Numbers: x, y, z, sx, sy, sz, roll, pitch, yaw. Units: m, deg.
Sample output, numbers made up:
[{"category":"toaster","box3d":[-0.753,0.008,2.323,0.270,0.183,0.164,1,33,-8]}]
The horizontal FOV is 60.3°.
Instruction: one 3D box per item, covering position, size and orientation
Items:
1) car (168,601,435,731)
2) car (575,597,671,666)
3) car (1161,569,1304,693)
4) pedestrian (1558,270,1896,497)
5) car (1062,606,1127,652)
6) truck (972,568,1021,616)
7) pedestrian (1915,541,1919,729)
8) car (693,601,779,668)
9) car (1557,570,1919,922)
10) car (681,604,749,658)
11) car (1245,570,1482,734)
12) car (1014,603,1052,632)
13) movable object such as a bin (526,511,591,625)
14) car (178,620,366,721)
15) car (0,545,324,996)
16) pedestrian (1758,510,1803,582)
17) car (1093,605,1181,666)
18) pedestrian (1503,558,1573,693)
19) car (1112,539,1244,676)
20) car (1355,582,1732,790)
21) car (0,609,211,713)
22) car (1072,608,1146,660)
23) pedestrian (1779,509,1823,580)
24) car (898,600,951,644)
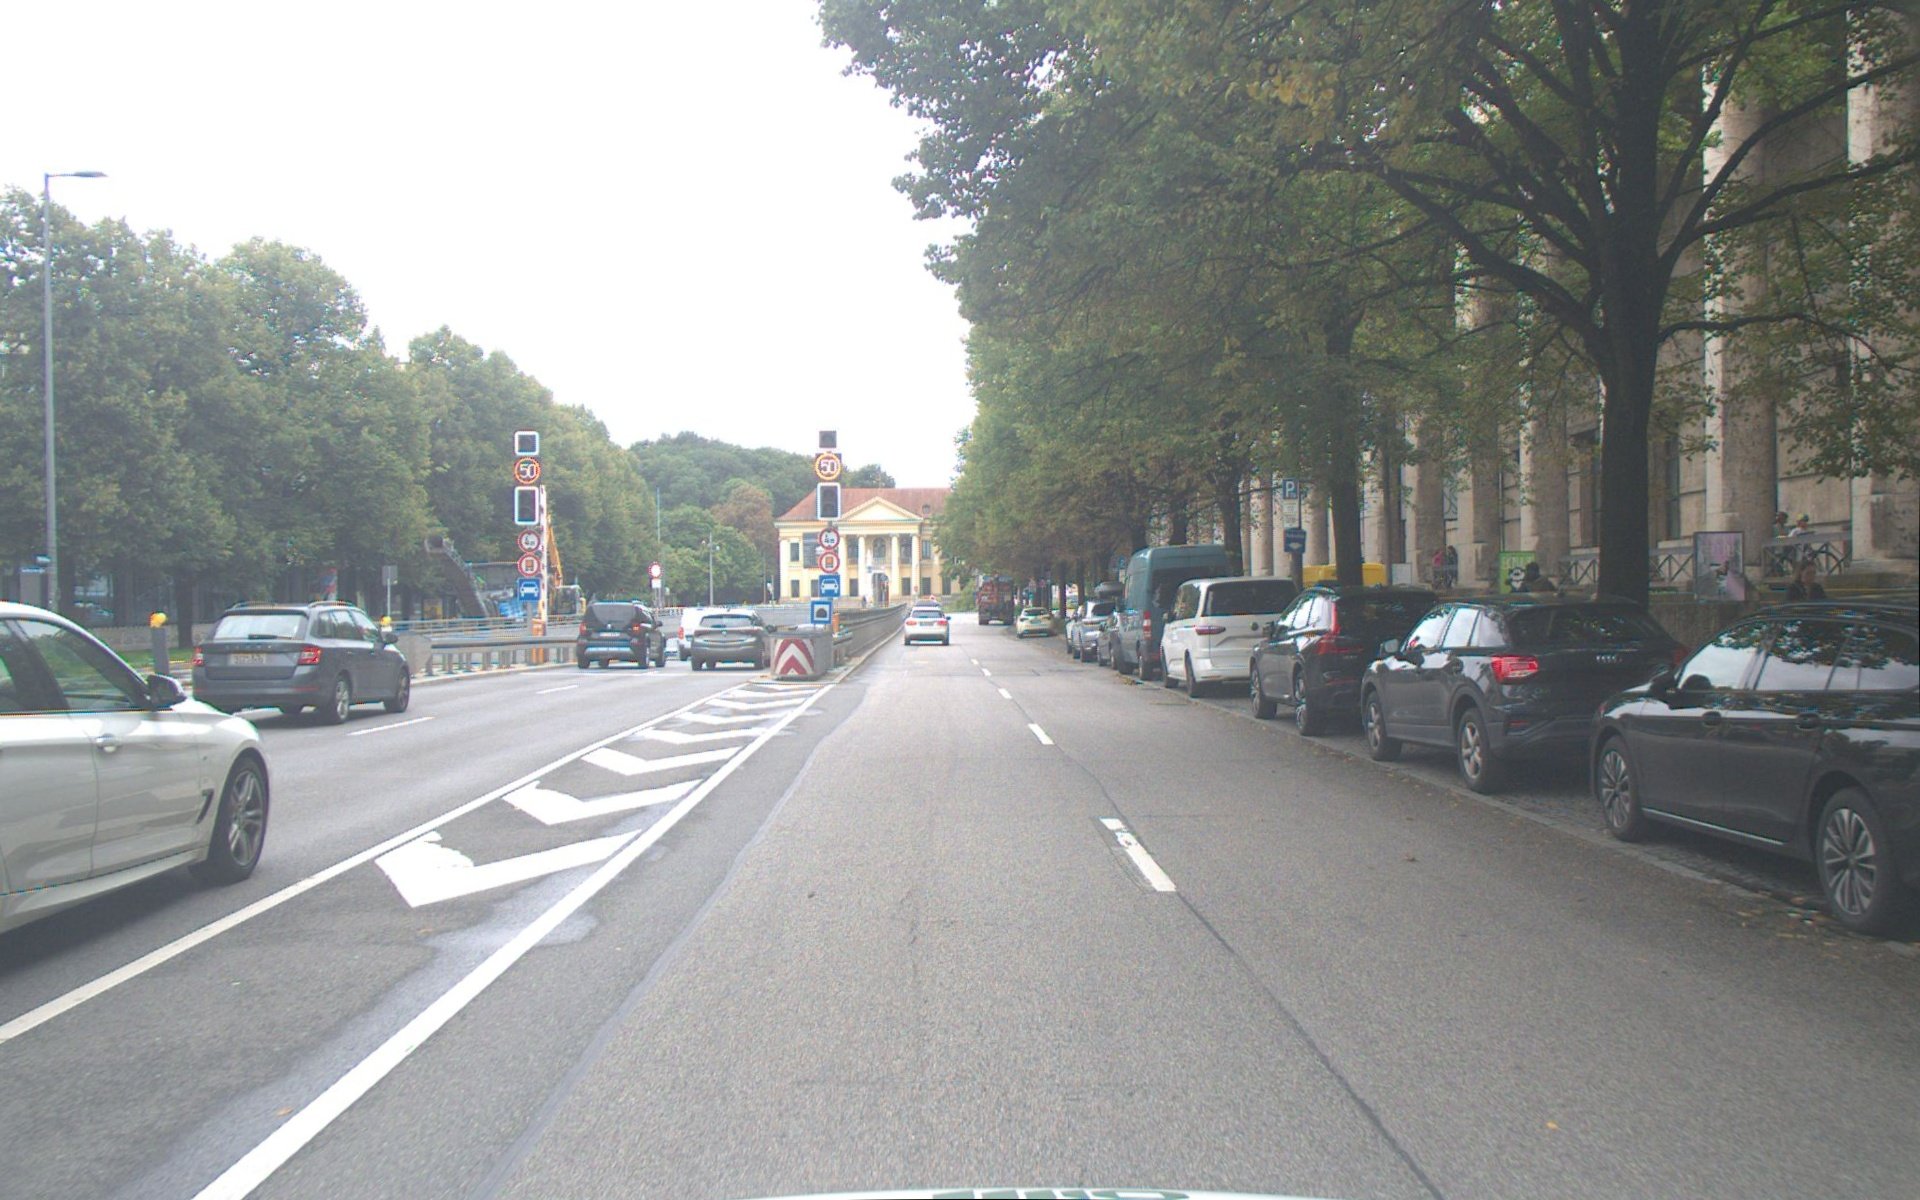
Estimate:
[{"category":"car","box3d":[-8.305,0.771,21.296,1.756,1.473,4.274,-1,0,-1]},{"category":"car","box3d":[-8.702,0.794,43.015,1.688,1.665,4.203,-1,0,-1]},{"category":"car","box3d":[4.502,0.484,27.844,1.689,1.900,4.027,-1,0,0]},{"category":"pedestrian","box3d":[8.517,-2.321,18.806,1.953,2.049,3.999,0,0,-1]},{"category":"car","box3d":[4.212,0.896,52.438,1.689,1.347,4.027,-2,0,0]},{"category":"truck","box3d":[2.646,-0.587,122.336,3.258,3.426,8.660,0,0,-1]},{"category":"pedestrian","box3d":[10.311,0.367,16.813,0.763,1.943,0.771,0,0,0]},{"category":"car","box3d":[-5.575,0.828,41.583,1.675,1.579,3.999,0,0,-1]},{"category":"car","box3d":[4.889,0.597,8.757,1.689,1.490,4.775,-2,0,0]},{"category":"car","box3d":[-8.967,1.117,60.837,1.860,1.880,4.954,-1,0,-1]},{"category":"car","box3d":[4.703,0.557,19.944,1.689,1.694,4.589,-1,0,0]},{"category":"car","box3d":[3.571,0.851,81.457,1.689,1.347,4.027,-2,0,0]},{"category":"movable object such as a bin","box3d":[-23.822,-1.857,98.391,2.644,6.625,5.175,0,0,-1]},{"category":"car","box3d":[-12.429,1.230,30.159,1.954,1.624,3.997,-1,0,-4]},{"category":"car","box3d":[-4.476,0.651,7.040,1.757,1.665,5.024,-1,0,-2]},{"category":"pedestrian","box3d":[16.195,-1.051,32.656,0.555,1.397,0.646,0,0,0]},{"category":"car","box3d":[4.330,0.845,40.969,1.689,1.388,4.027,-2,0,0]},{"category":"pedestrian","box3d":[8.514,0.371,24.386,0.763,1.943,0.771,0,0,0]},{"category":"car","box3d":[4.508,0.148,34.862,1.953,2.689,4.875,0,0,-2]},{"category":"car","box3d":[4.793,0.636,14.243,1.785,1.490,4.027,-2,0,0]},{"category":"car","box3d":[-14.900,1.005,28.922,1.954,1.624,3.997,-1,0,-4]},{"category":"car","box3d":[4.149,0.917,46.553,1.689,1.347,4.027,-2,0,0]},{"category":"pedestrian","box3d":[16.772,-1.107,33.003,0.555,1.397,0.646,0,0,0]},{"category":"car","box3d":[-1.434,0.860,65.375,1.745,1.673,3.995,0,0,-6]}]
